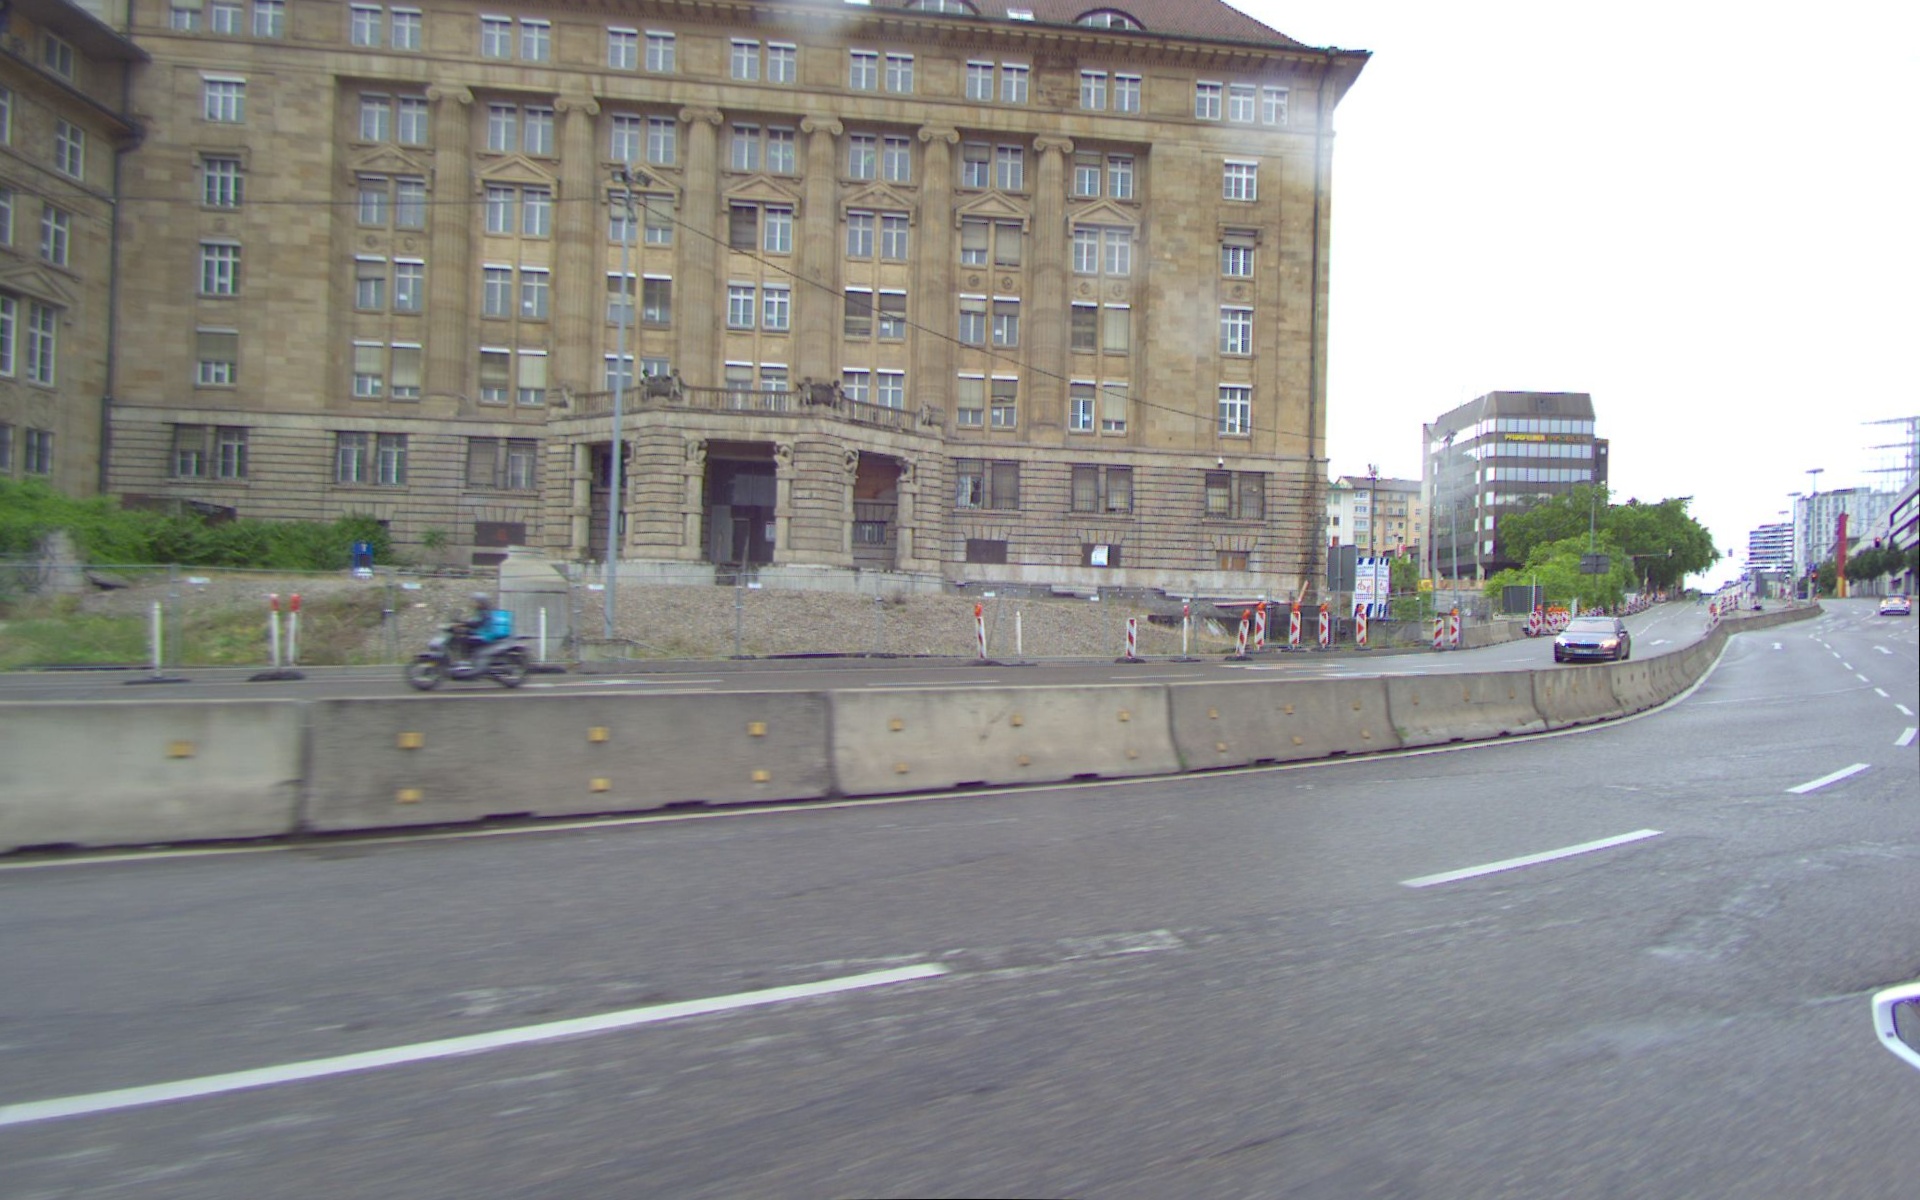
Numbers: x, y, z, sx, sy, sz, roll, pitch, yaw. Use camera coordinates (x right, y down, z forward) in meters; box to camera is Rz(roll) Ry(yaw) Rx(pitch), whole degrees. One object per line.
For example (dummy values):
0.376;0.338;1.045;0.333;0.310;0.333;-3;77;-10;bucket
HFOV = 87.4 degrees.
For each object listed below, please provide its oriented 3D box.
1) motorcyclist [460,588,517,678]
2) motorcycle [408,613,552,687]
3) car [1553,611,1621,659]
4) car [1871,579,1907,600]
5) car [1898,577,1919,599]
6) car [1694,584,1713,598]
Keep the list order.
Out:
-7.910;0.535;16.833;0.816;1.470;0.794;0;0;-30;motorcyclist
-8.021;0.802;16.816;2.129;1.164;0.865;0;0;-30;motorcycle
20.611;1.175;32.964;1.581;1.369;3.741;1;-3;37;car
75.597;-0.838;81.778;1.719;1.526;3.740;1;-1;37;car
83.664;-1.006;87.844;4.233;1.828;1.976;1;0;-42;car
89.673;-1.050;121.169;1.583;1.369;3.736;1;-3;41;car
